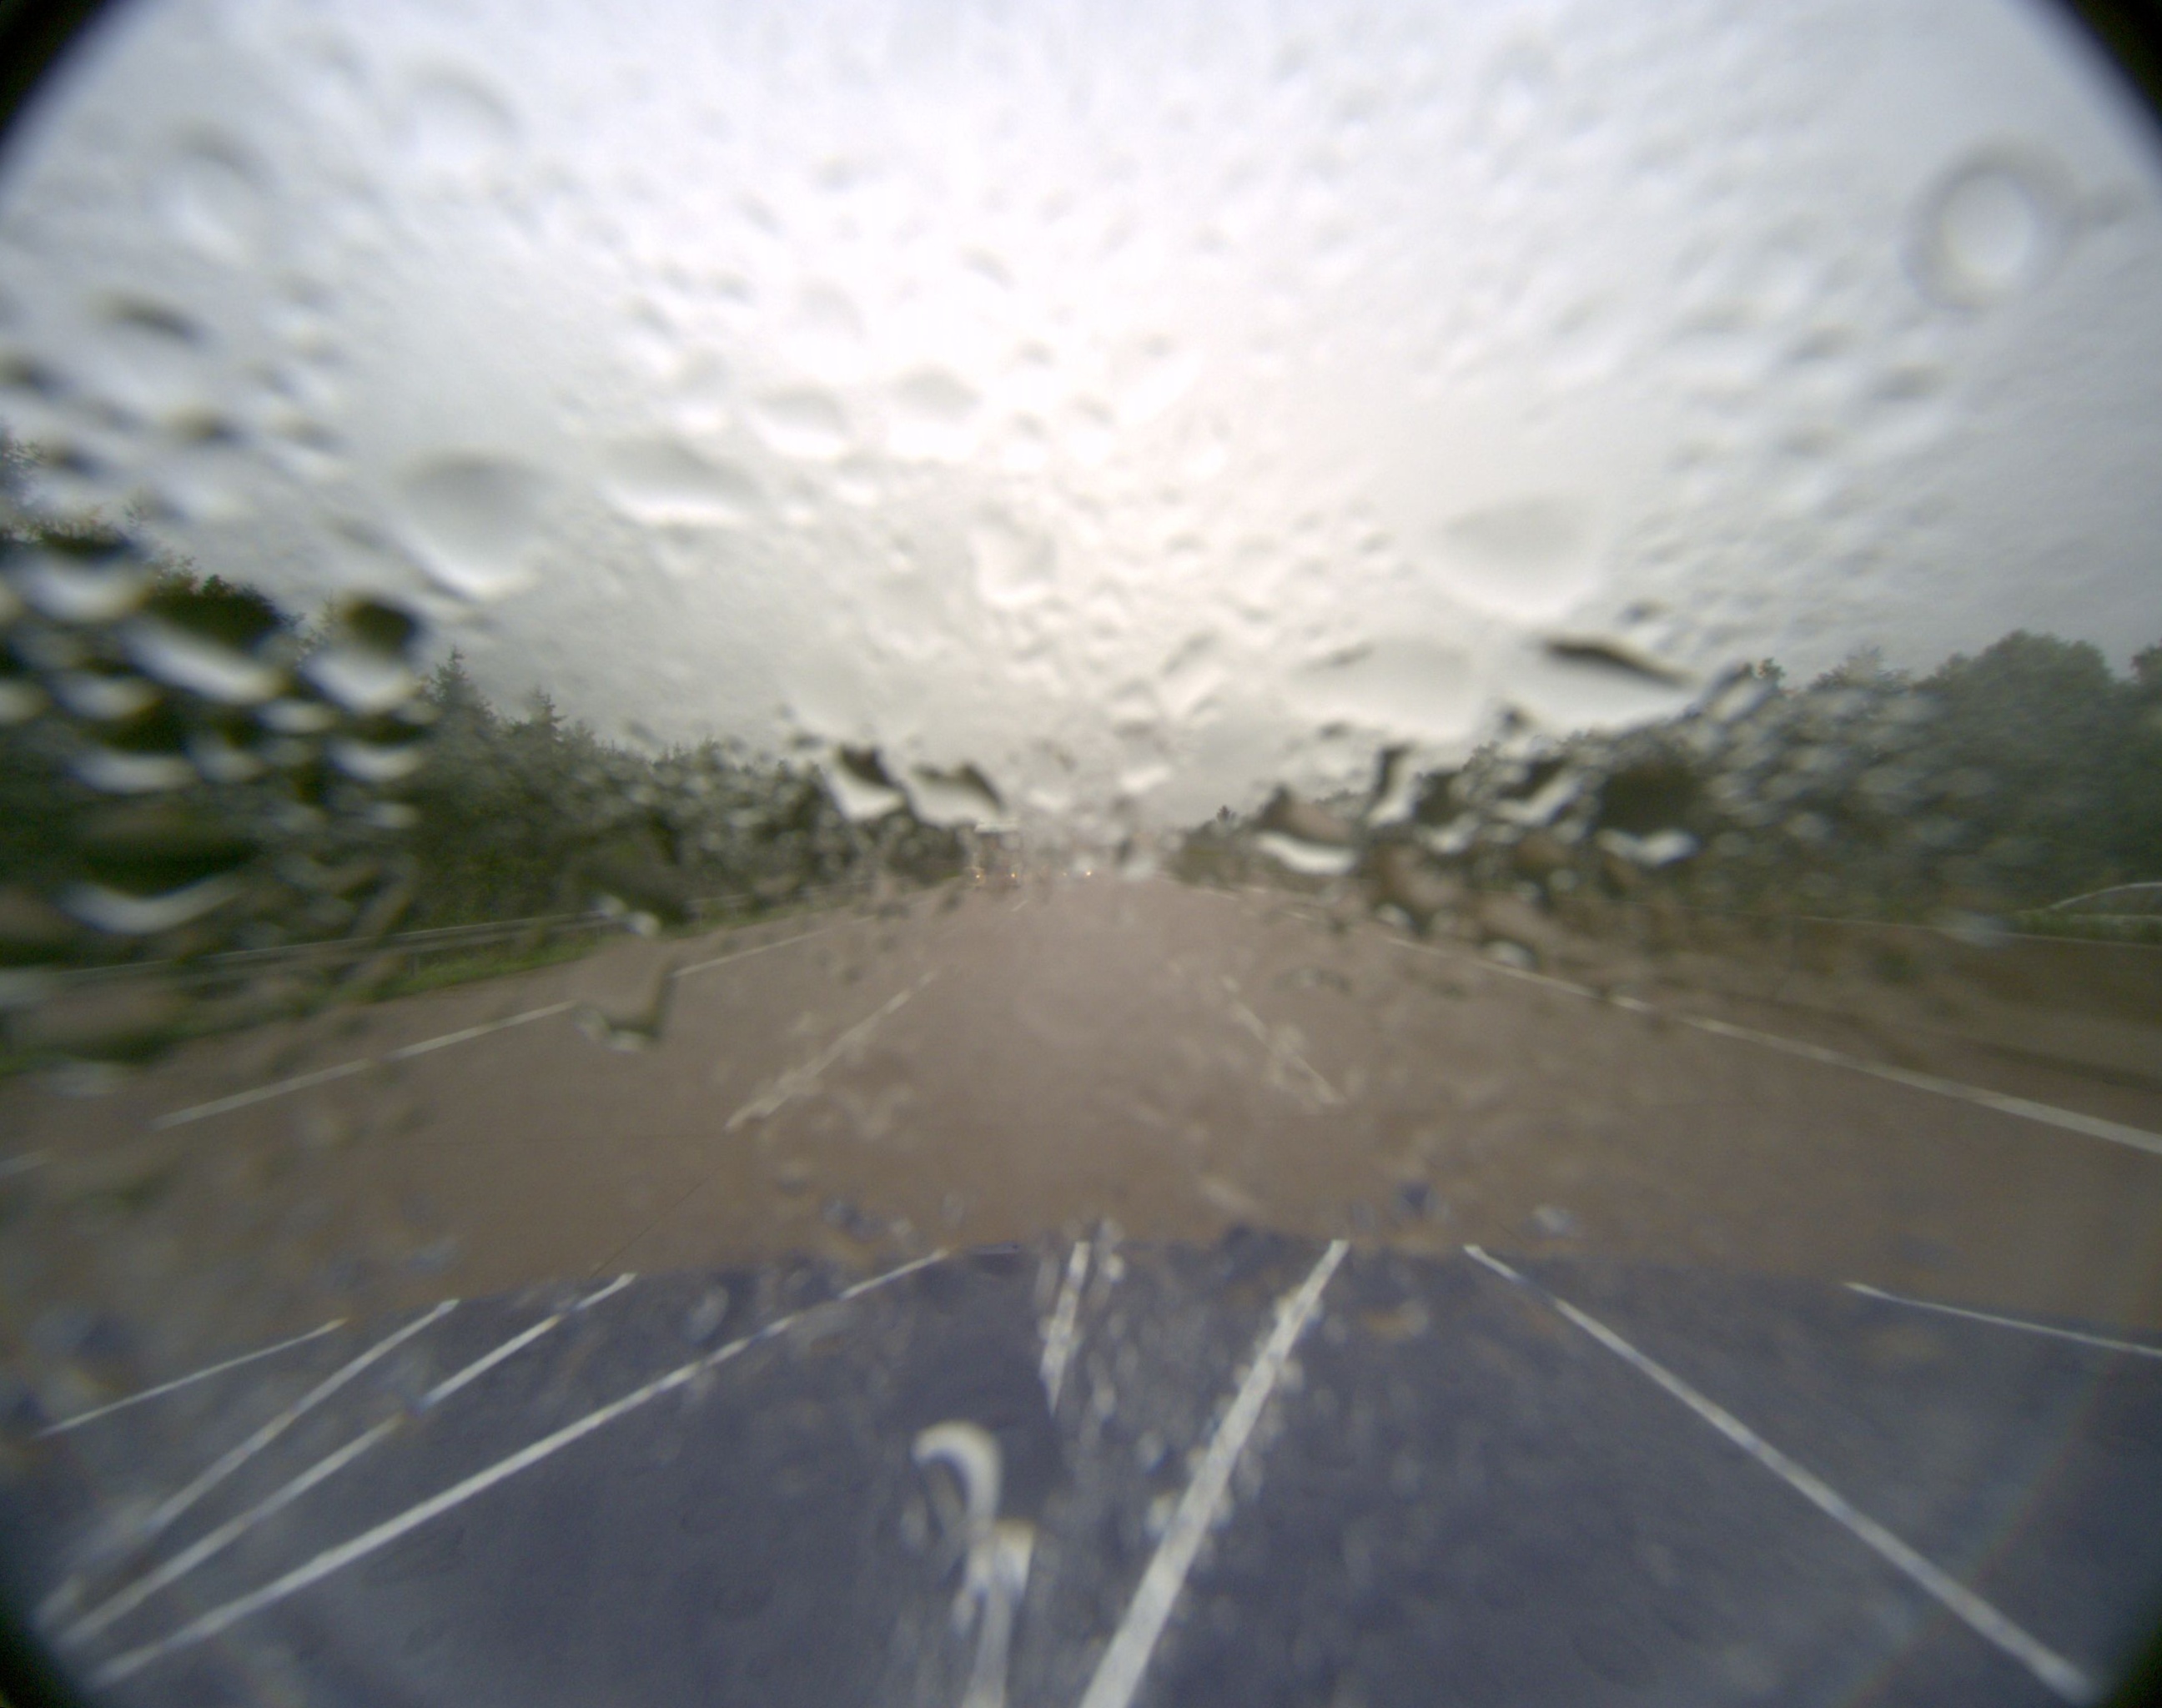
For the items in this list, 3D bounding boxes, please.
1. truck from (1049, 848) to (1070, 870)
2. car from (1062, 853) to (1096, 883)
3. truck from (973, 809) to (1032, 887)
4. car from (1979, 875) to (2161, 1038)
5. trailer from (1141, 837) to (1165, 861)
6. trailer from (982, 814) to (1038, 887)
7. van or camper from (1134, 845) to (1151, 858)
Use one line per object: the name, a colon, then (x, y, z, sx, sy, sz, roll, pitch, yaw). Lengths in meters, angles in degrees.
truck: (-3.769, 0.881, 134.241, 3.242, 3.707, 7.955, -2, -1, 1)
car: (-0.084, 0.820, 46.368, 1.812, 1.718, 4.744, 0, 0, 3)
truck: (-4.299, -0.244, 42.990, 2.888, 4.082, 6.349, 0, -1, -2)
car: (15.167, 1.379, 9.957, 1.999, 2.002, 3.999, -2, 0, -1)
trailer: (15.887, -1.090, 169.077, 4.001, 5.029, 14.237, -2, 0, 1)
trailer: (-4.530, -0.089, 50.881, 2.860, 4.206, 13.131, 0, -1, -2)
van or camper: (12.475, -0.434, 154.827, 2.797, 2.391, 6.488, -5, 0, -1)
